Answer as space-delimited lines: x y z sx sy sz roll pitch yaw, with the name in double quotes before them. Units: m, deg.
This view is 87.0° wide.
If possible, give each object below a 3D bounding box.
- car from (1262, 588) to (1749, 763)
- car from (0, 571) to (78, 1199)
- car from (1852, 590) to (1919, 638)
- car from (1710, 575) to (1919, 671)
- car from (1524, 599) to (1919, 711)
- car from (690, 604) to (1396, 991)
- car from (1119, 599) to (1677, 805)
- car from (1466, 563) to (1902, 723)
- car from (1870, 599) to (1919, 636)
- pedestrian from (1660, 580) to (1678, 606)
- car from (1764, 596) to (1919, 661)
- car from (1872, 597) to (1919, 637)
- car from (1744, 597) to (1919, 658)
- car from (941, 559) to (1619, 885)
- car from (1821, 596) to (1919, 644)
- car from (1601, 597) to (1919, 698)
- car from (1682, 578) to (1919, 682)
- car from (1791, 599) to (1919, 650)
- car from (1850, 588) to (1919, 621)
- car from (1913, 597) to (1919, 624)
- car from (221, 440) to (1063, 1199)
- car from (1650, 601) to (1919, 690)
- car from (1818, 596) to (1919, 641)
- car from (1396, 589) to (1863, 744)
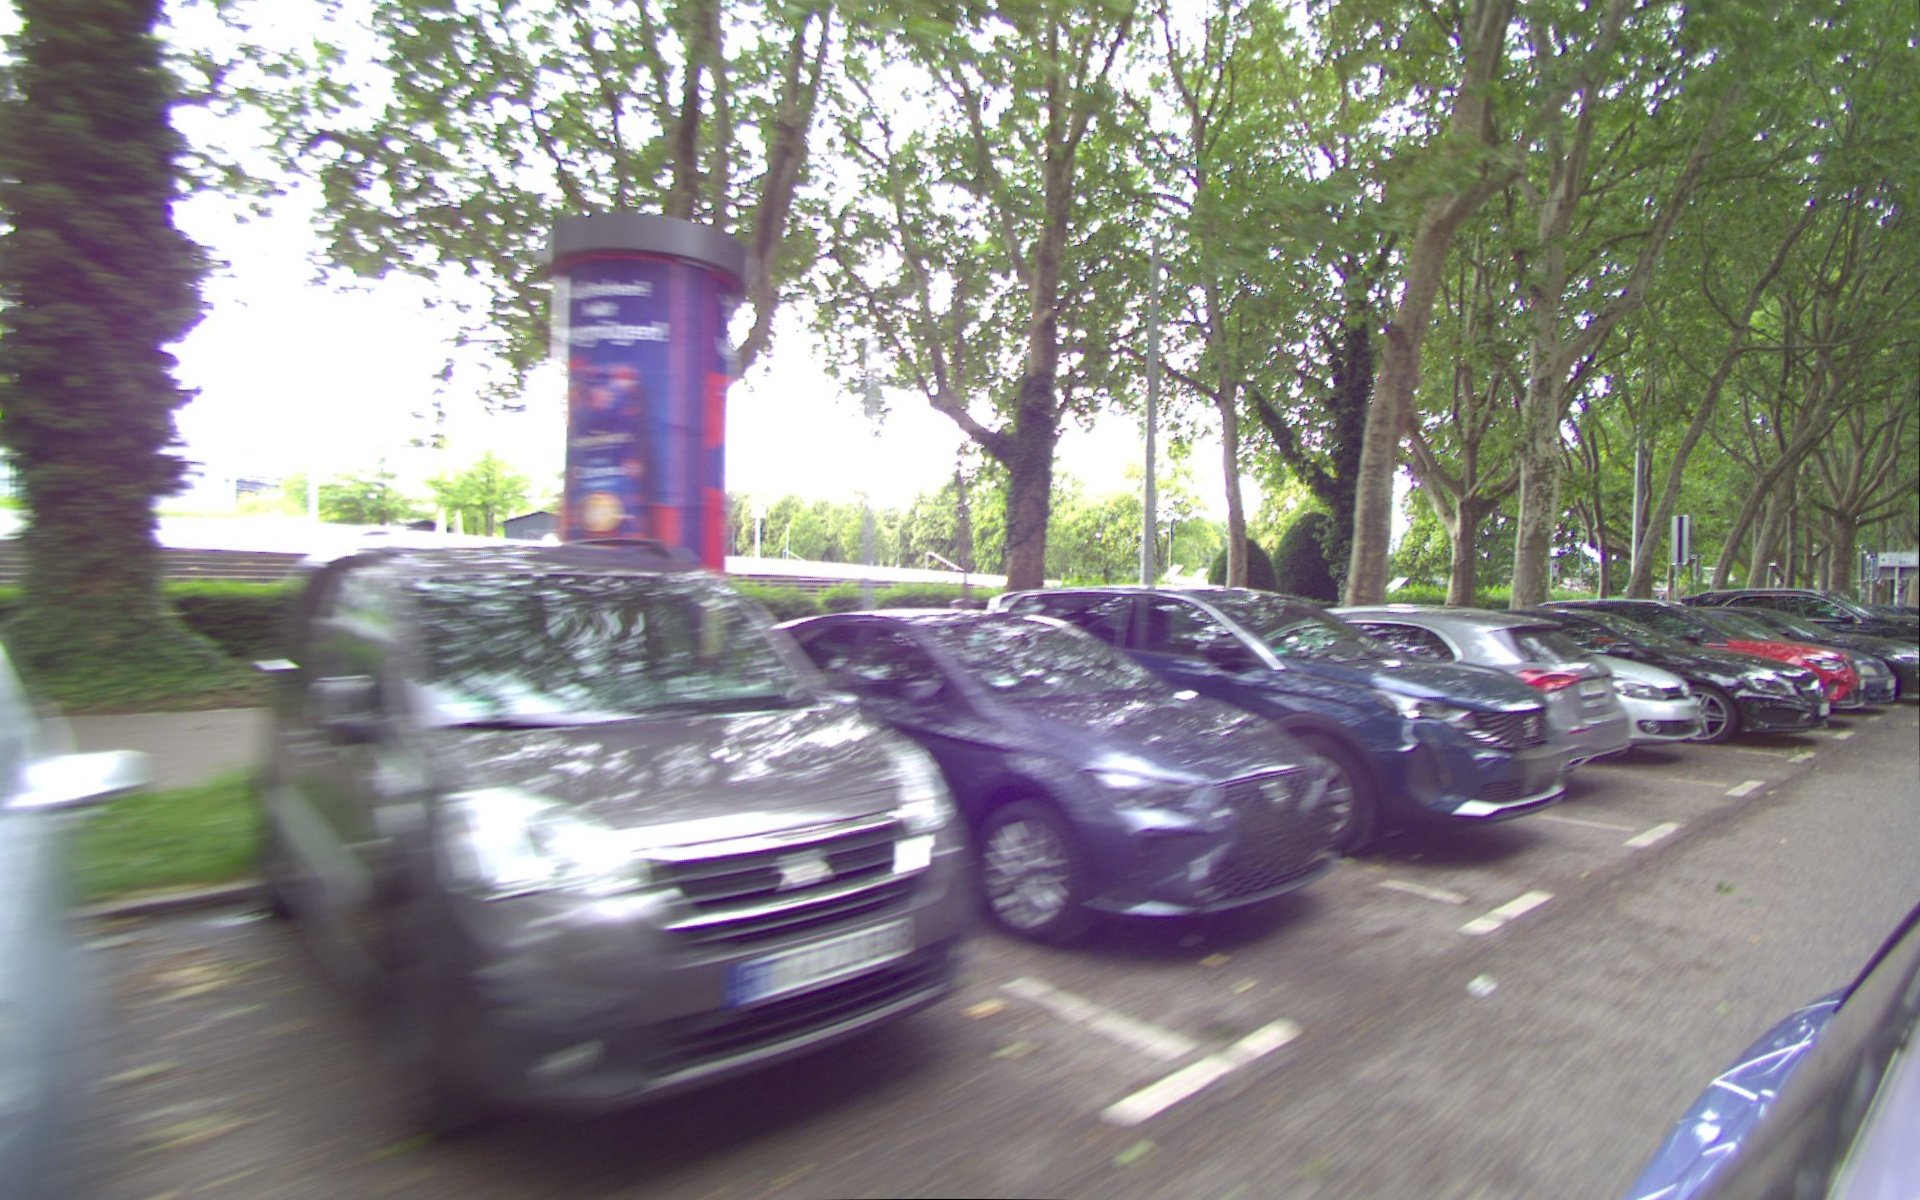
"car" 5.691 0.661 11.136 1.888 1.521 4.361 1 0 -34
"car" -3.329 0.690 2.447 1.696 1.476 4.156 0 0 -40
"car" 33.813 0.488 34.756 2.018 1.644 4.533 1 0 -40
"car" 19.005 0.463 21.579 2.010 1.890 4.506 1 -1 -38
"car" 11.322 0.705 15.339 1.796 1.438 4.505 0 0 -39
"car" 0.131 0.732 5.812 1.713 1.397 4.048 1 -1 -40
"car" 3.744 0.714 9.327 1.891 1.431 4.354 1 -1 -40
"car" 9.727 0.498 13.958 2.009 1.819 4.508 1 -1 -36
"car" 39.074 0.704 39.843 1.687 1.435 4.600 1 0 -37
"pedestrian" 44.001 -0.449 62.803 0.685 1.587 0.725 0 0 -34
"car" 22.924 0.673 25.257 1.754 1.538 4.202 0 -1 -41
"car" 35.500 0.634 36.408 1.688 1.435 3.838 1 0 -40
"car" 24.003 0.708 27.381 1.755 1.538 4.199 1 -1 -43
"car" 1.973 0.628 7.547 1.838 1.660 4.602 1 -1 -38
"car" 29.823 0.632 31.888 4.016 1.466 1.884 0 -1 44
"car" 13.345 0.684 16.543 1.898 1.446 4.504 0 0 -40
"car" 16.878 0.536 19.487 2.011 1.819 4.503 1 -1 -41
"car" 27.715 0.702 30.331 1.755 1.474 4.199 1 -1 -43
"car" 45.036 0.218 47.853 1.754 1.480 4.283 0 2 -42
"car" 56.358 0.552 56.238 1.966 1.525 4.824 0 -1 -42
"car" -1.777 0.553 4.342 1.805 1.768 4.352 1 -1 -42
"car" 15.022 0.736 18.213 1.708 1.408 3.992 0 0 -39
"car" 31.431 0.605 33.773 1.752 1.466 4.023 1 -1 -40
"car" 7.839 0.657 12.249 1.890 1.521 4.357 1 -1 -37
